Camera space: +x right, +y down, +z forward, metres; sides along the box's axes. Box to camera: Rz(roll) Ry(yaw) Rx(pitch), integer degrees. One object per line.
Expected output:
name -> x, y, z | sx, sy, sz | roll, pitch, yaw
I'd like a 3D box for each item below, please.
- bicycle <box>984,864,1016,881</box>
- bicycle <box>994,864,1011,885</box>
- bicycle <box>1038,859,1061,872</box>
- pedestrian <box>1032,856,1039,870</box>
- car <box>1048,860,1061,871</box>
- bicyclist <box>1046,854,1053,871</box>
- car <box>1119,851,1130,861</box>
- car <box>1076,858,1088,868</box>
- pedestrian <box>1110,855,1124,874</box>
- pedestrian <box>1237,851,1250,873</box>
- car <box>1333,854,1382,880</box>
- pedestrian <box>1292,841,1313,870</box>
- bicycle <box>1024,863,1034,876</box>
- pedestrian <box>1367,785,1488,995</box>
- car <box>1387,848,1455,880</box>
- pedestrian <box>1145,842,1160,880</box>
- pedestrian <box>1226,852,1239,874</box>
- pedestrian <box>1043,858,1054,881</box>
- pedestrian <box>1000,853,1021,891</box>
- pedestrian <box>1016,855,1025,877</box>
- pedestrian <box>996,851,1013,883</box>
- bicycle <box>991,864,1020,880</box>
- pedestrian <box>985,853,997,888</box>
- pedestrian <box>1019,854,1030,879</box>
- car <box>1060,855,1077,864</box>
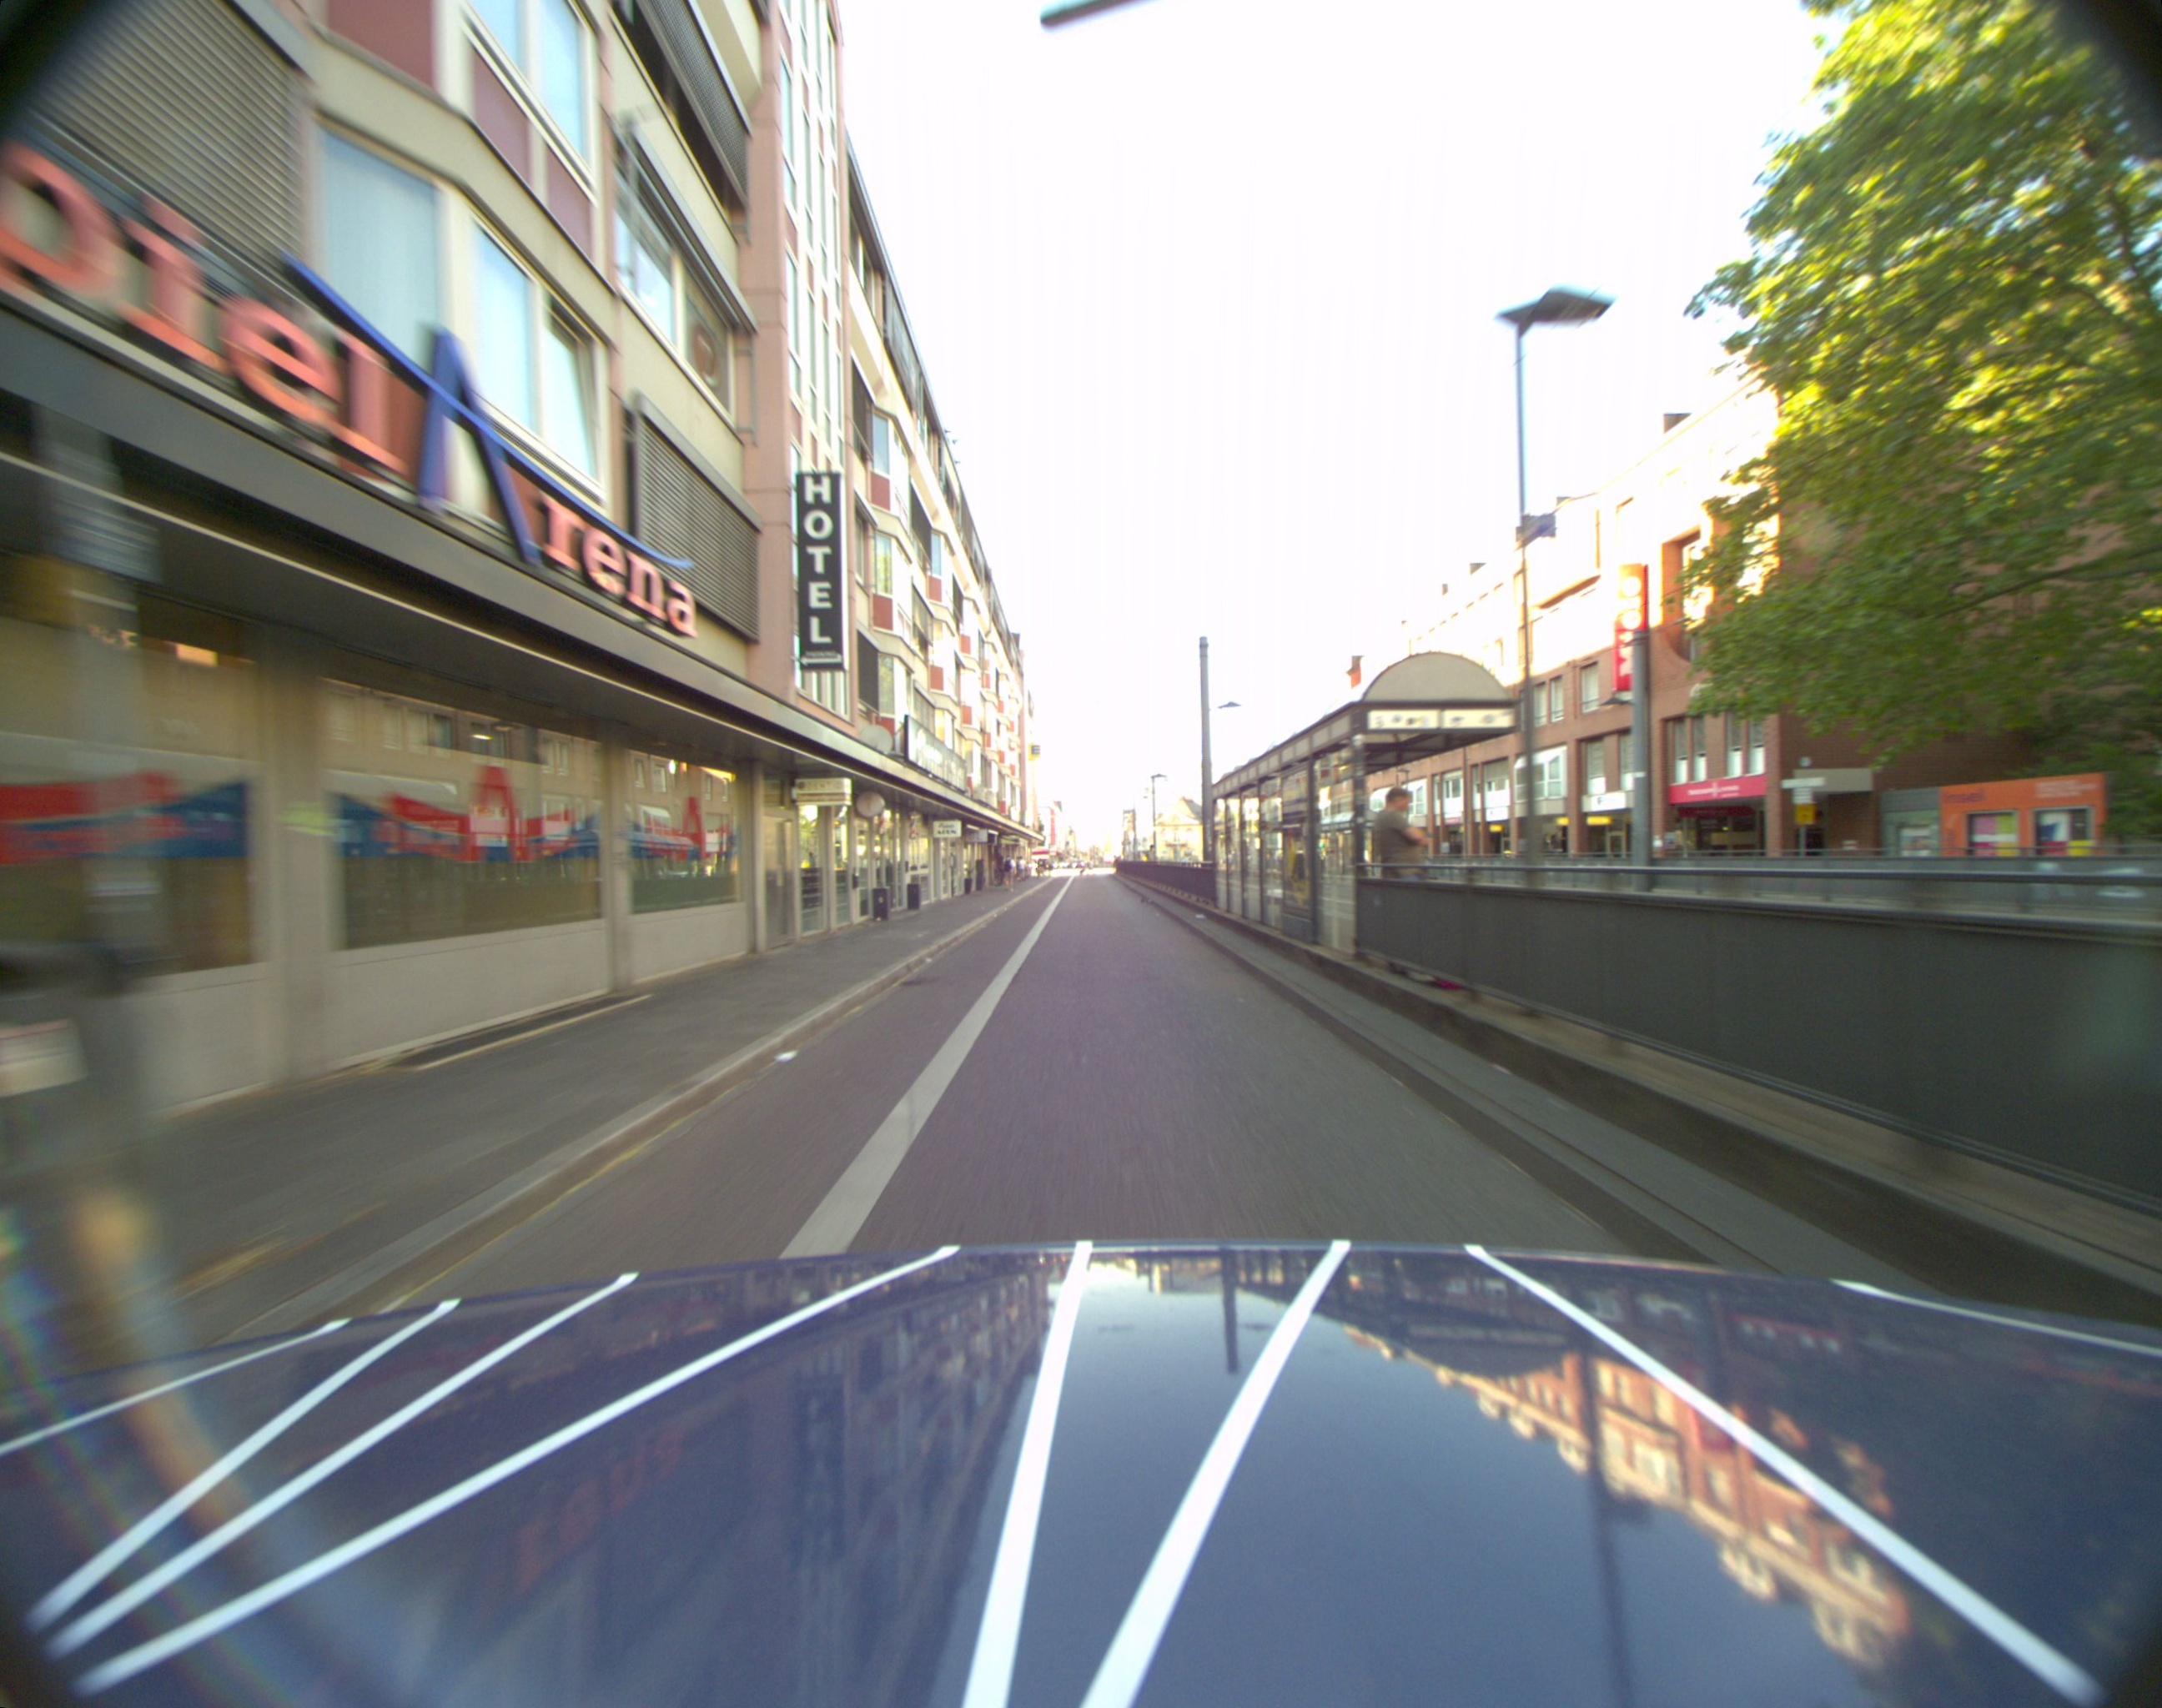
bicycle -> -5.032, 1.134, 47.364 | 1.929, 1.054, 0.576 | 0, 1, 0
bicycle -> -4.278, 1.106, 41.517 | 0.659, 1.061, 1.794 | 3, 0, 0
bicycle -> -3.077, 1.128, 74.546 | 2.176, 1.117, 0.768 | -2, 1, -3
pedestrian -> -6.707, 1.267, 111.151 | 0.747, 2.002, 1.070 | -4, 1, -12
car -> -4.396, 1.953, 126.625 | 1.972, 1.664, 4.874 | -3, 0, -2
bicyclist -> -3.070, 0.860, 74.558 | 0.637, 1.668, 0.768 | -2, 1, -3
car -> 11.406, 0.548, 200.930 | 2.540, 2.440, 5.425 | -3, 0, 6
car -> 0.119, 1.510, 131.823 | 1.971, 1.664, 4.875 | -3, 0, 0
pedestrian -> 3.466, 1.006, 73.108 | 0.812, 1.793, 0.859 | -5, 1, -28
pedestrian -> 13.470, 0.686, 62.933 | 0.860, 1.756, 0.811 | -4, 1, 3
car -> 19.205, 0.868, 52.937 | 1.914, 1.585, 4.289 | 0, 2, 1
pedestrian -> 12.975, 0.099, 44.590 | 0.913, 1.652, 0.967 | -2, 1, 0
bicycle -> -4.042, 1.220, 59.454 | 0.678, 0.971, 1.842 | 3, 0, -3
pedestrian -> 3.004, 0.295, 6.656 | 0.624, 1.702, 0.850 | -2, 0, 0
car -> 18.865, 0.502, 42.314 | 1.914, 1.585, 4.289 | 0, 2, 1
pedestrian -> 3.440, 0.331, 36.690 | 0.584, 1.781, 0.606 | -2, 1, -1
pedestrian -> 12.557, 0.748, 62.910 | 0.860, 1.756, 0.811 | -4, 1, 3
pedestrian -> -2.579, 1.202, 59.836 | 0.806, 1.805, 0.733 | -2, 0, -3
pedestrian -> -3.285, 0.832, 35.294 | 0.800, 1.712, 1.061 | 1, 1, 1
pedestrian -> -4.336, 0.838, 54.810 | 0.407, 1.586, 0.462 | 2, 1, 28
pedestrian -> -4.427, 0.743, 44.059 | 0.917, 1.856, 0.779 | 0, 1, -3
bicycle -> -4.852, 1.172, 48.724 | 1.734, 0.968, 0.506 | 1, 1, 5
pedestrian -> -4.296, 0.777, 36.298 | 0.543, 1.664, 0.468 | -1, 1, -8
pedestrian -> -3.805, 0.850, 51.299 | 0.634, 1.664, 0.771 | -1, 1, 1
car -> -2.459, 1.073, 143.958 | 1.974, 1.664, 4.869 | -3, 0, -16
